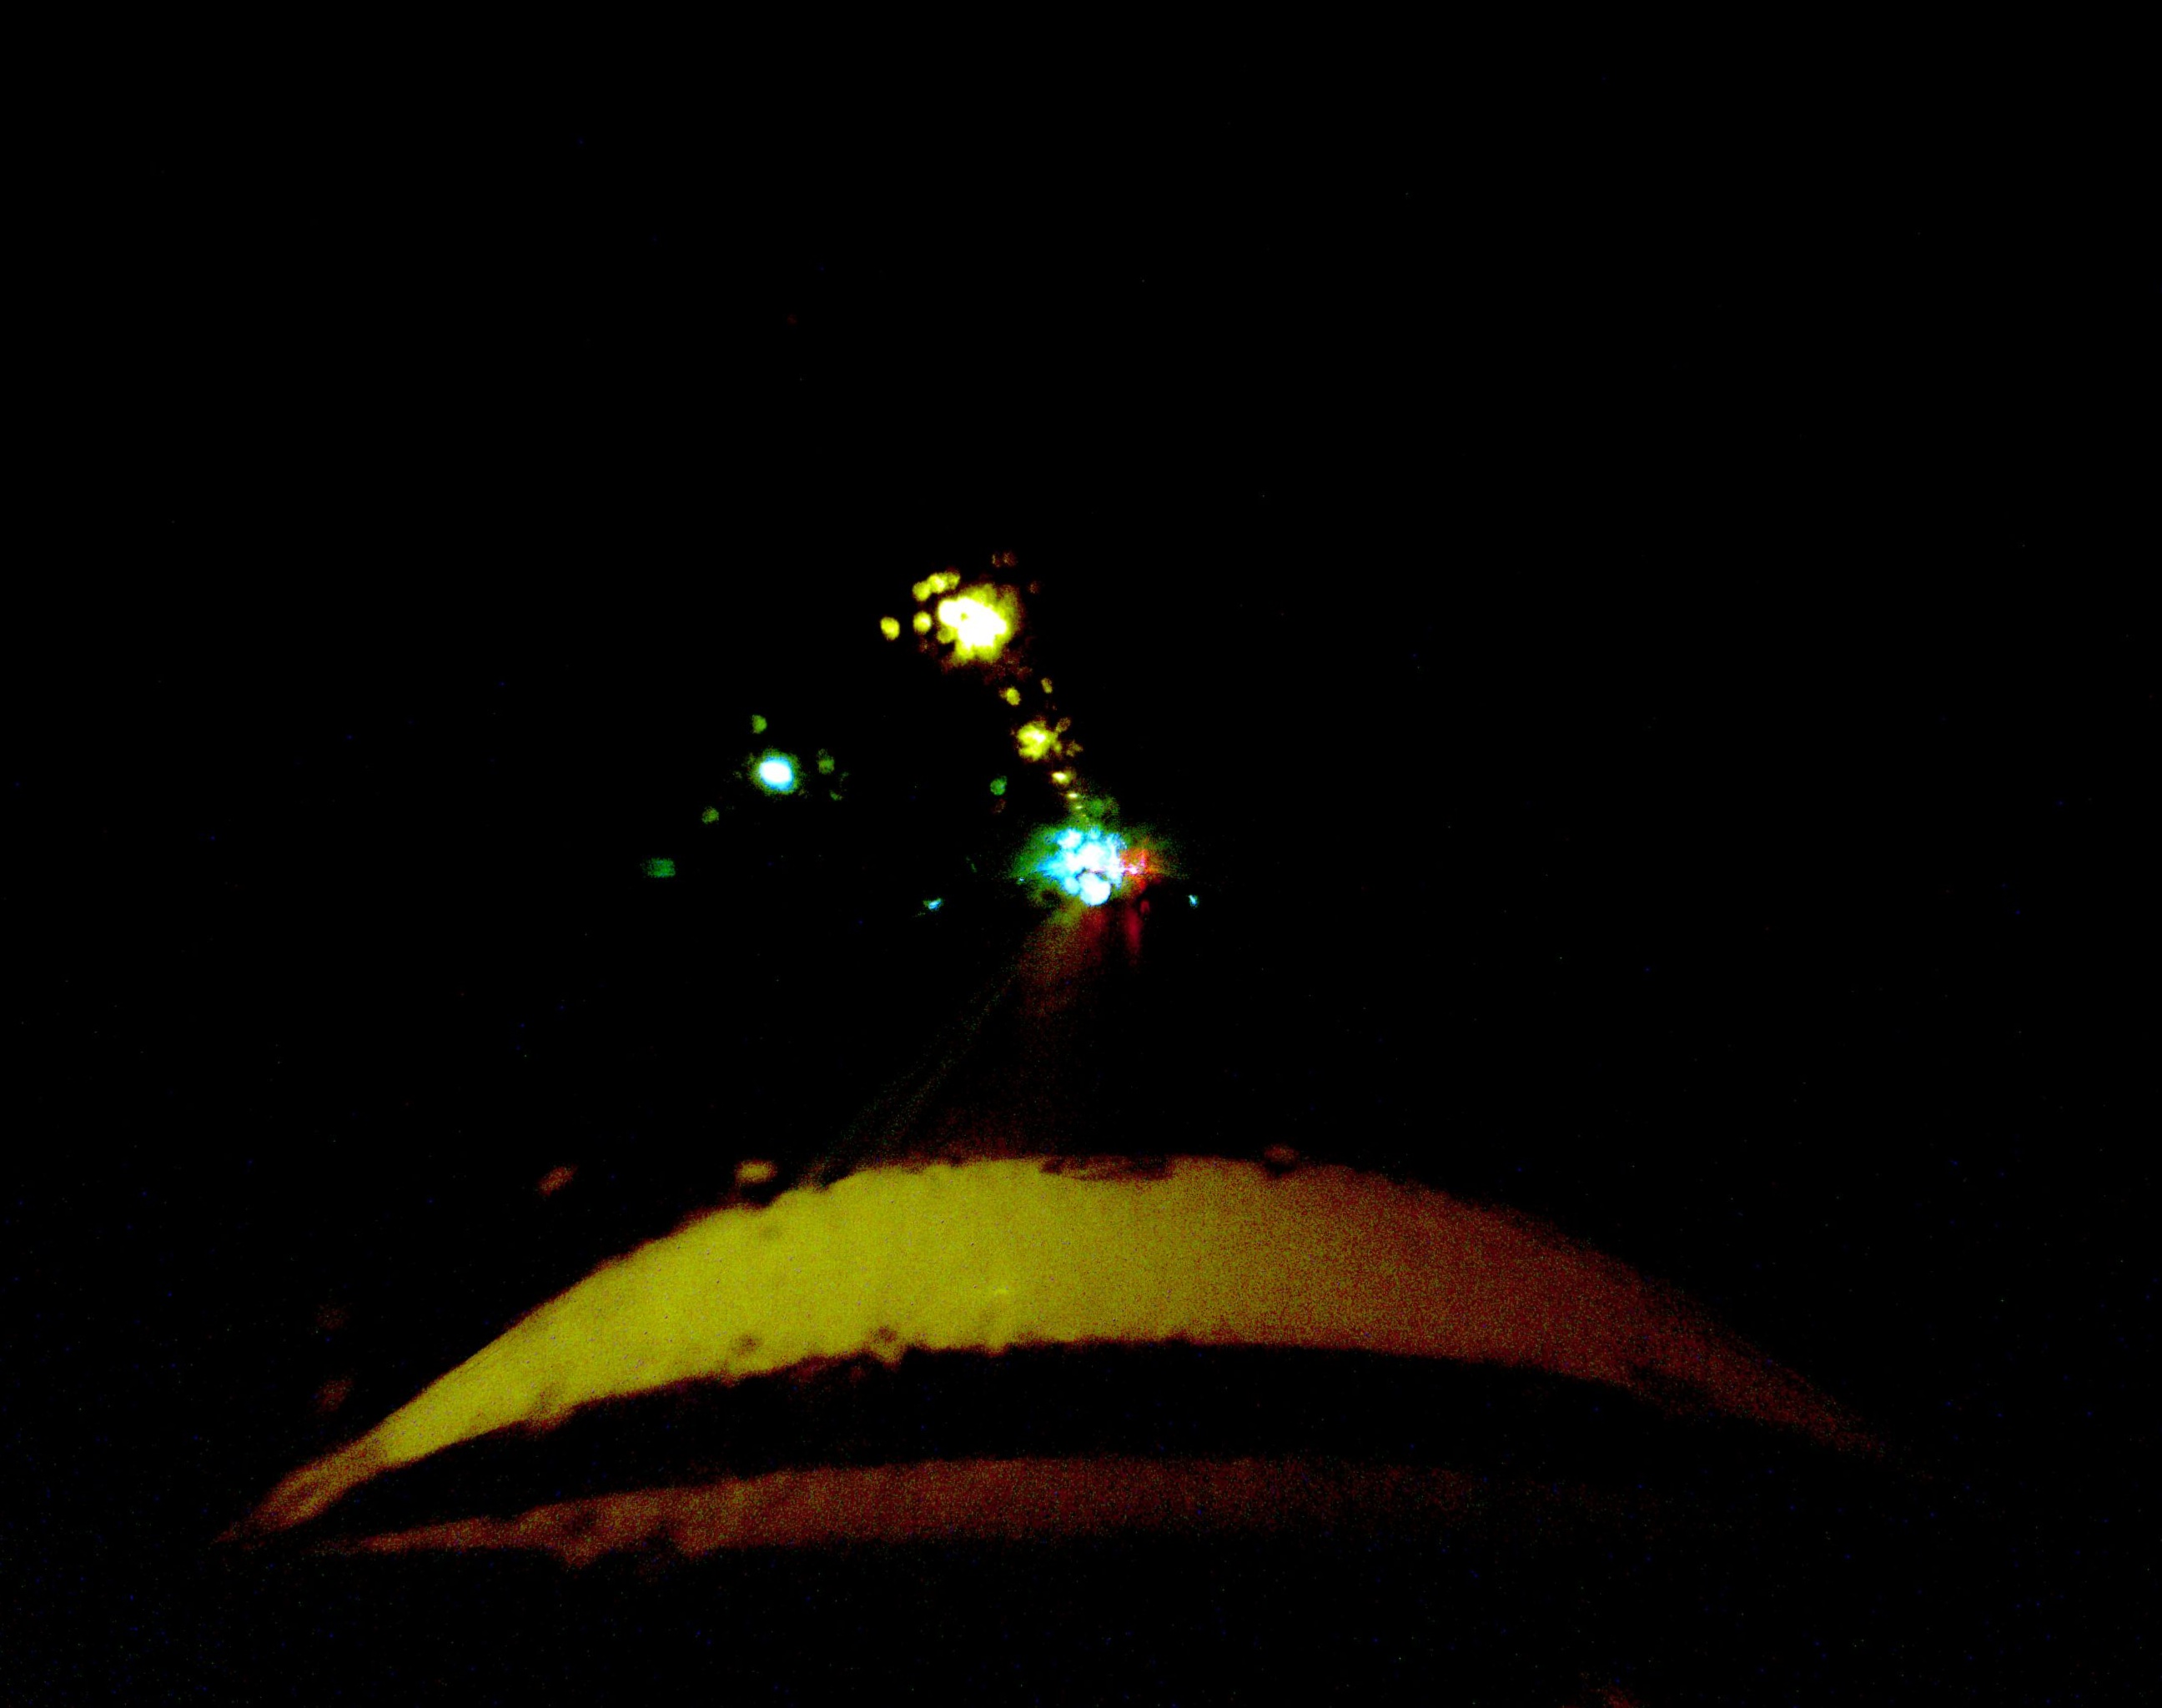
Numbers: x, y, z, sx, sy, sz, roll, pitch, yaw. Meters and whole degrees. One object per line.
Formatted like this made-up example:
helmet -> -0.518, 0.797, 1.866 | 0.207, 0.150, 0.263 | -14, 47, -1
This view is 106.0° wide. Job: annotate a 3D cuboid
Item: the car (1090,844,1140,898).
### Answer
car -> 1.239, 0.563, 29.477 | 1.628, 1.758, 4.148 | -2, 0, 3
